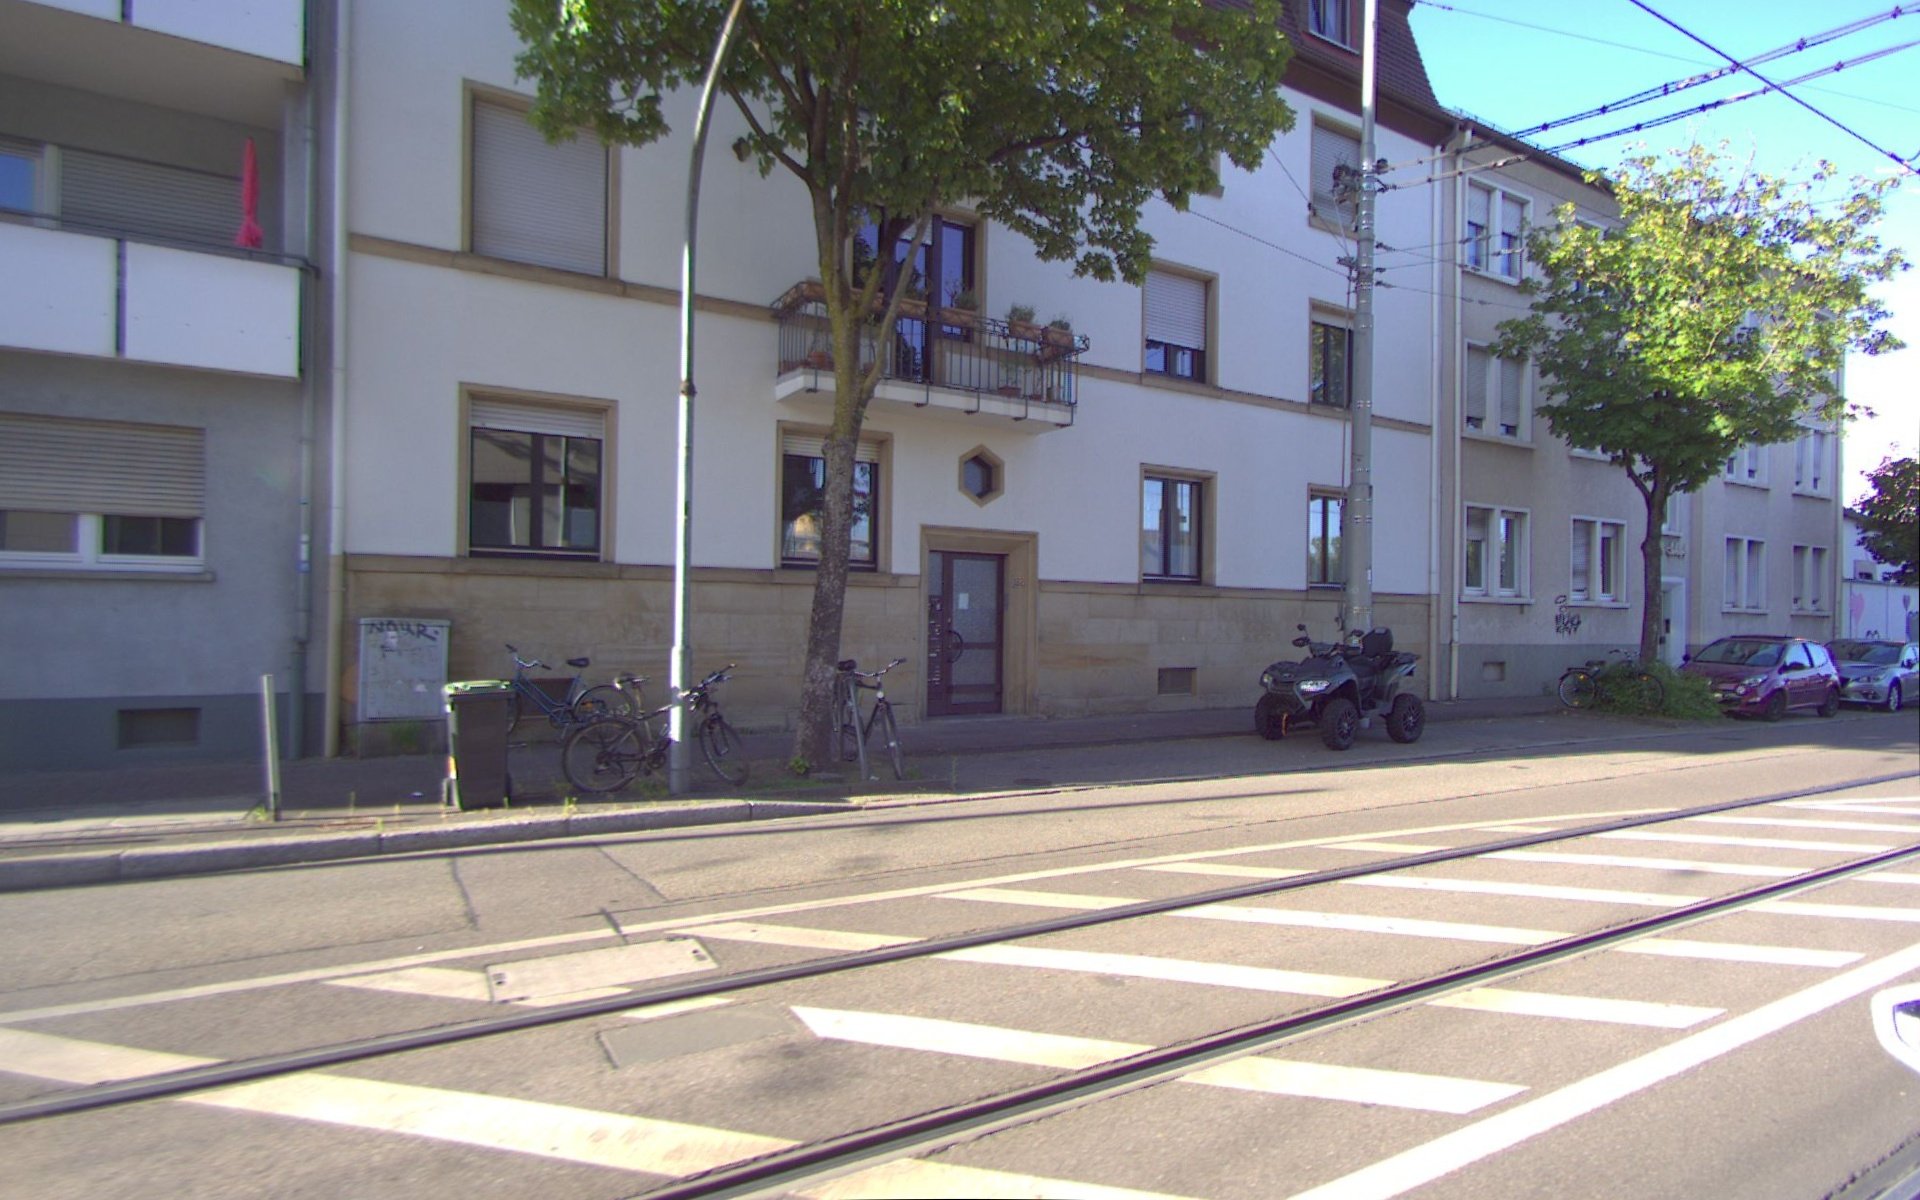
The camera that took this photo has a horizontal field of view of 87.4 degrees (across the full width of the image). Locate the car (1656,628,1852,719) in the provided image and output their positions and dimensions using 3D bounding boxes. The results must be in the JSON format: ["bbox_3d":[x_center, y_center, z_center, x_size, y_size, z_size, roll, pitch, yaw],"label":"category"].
[{"bbox_3d":[15.011,1.338,18.953,3.953,1.525,1.564,2,0,-30],"label":"car"}]

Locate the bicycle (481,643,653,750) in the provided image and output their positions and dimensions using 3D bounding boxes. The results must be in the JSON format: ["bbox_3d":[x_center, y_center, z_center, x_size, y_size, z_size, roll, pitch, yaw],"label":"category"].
[{"bbox_3d":[-4.117,0.995,10.583,1.642,1.056,0.301,2,0,-31],"label":"bicycle"}]

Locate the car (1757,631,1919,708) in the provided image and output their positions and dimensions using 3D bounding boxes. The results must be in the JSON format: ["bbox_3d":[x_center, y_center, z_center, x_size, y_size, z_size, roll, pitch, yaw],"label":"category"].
[{"bbox_3d":[19.318,1.464,21.703,4.243,1.448,1.864,2,0,-30],"label":"car"}]

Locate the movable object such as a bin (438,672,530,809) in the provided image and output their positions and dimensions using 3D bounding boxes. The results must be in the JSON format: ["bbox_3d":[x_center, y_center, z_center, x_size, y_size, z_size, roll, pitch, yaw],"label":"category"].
[{"bbox_3d":[-3.574,1.036,7.539,0.576,0.948,0.422,2,0,-30],"label":"movable object such as a bin"}]

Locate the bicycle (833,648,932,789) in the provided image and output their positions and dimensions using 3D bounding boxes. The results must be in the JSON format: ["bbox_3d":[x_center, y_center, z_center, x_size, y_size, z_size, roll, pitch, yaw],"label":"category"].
[{"bbox_3d":[-0.767,1.090,9.623,0.404,1.185,1.335,2,0,-29],"label":"bicycle"}]

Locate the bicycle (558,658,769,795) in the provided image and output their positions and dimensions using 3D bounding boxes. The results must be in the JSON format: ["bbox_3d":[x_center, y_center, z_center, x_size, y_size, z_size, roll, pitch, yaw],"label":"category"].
[{"bbox_3d":[-2.445,1.019,8.387,1.642,1.056,0.301,2,0,-31],"label":"bicycle"}]

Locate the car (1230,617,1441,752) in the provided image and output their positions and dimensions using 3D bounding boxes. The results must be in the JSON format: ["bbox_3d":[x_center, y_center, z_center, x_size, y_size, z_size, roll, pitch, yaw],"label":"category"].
[{"bbox_3d":[4.969,1.035,13.277,2.517,1.523,1.349,-1,1,-30],"label":"car"}]
